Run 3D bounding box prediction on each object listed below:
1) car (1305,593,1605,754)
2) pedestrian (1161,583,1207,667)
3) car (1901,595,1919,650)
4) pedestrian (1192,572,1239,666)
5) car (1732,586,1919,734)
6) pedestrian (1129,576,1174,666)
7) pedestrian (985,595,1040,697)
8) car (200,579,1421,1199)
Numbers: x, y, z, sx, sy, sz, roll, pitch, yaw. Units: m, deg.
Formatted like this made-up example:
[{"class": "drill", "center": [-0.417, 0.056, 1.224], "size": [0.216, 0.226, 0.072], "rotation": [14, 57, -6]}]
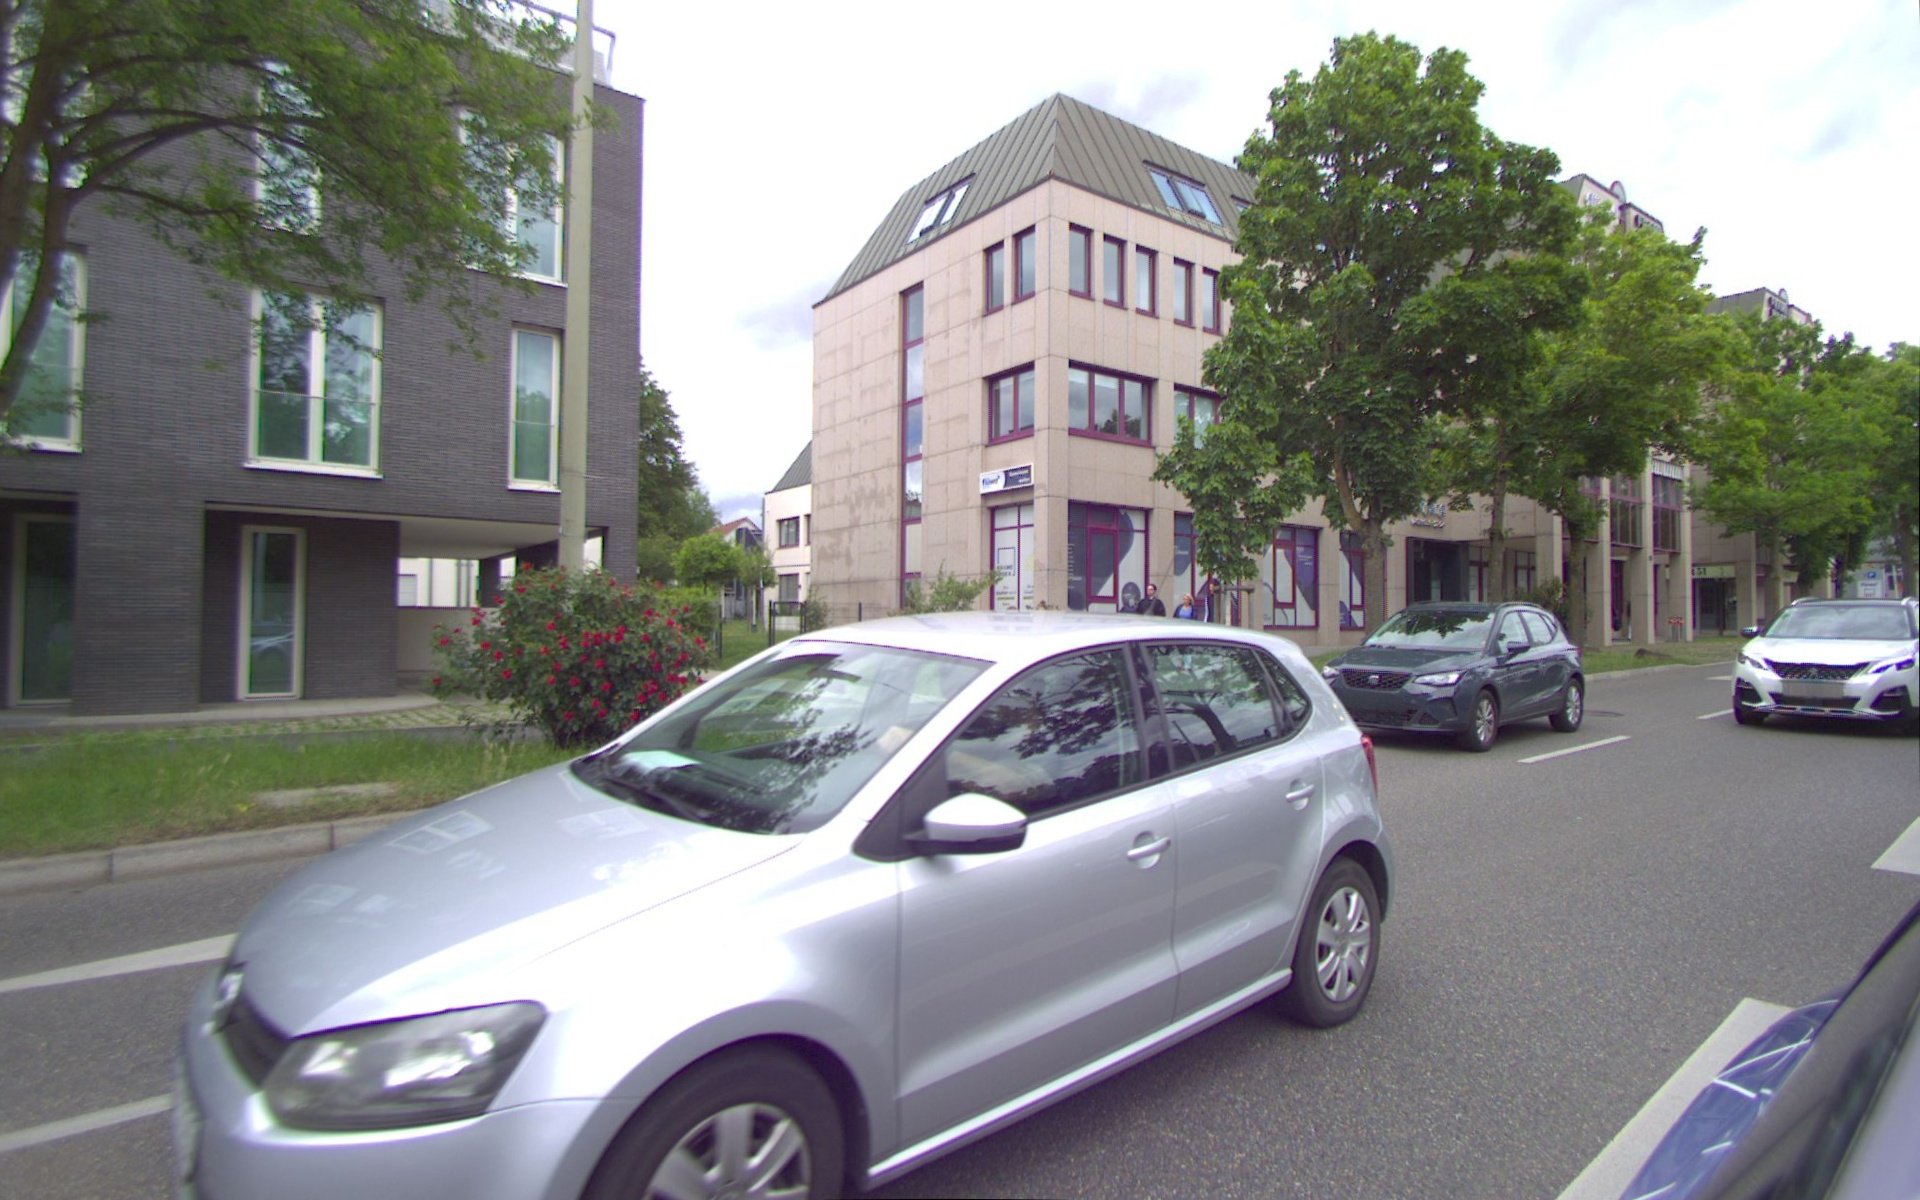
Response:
[{"class": "car", "center": [5.826, 0.700, 11.721], "size": [3.929, 1.531, 1.661], "rotation": [-1, 0, -40]}, {"class": "pedestrian", "center": [4.555, 0.499, 20.617], "size": [0.665, 1.668, 0.642], "rotation": [0, -1, -41]}, {"class": "car", "center": [29.250, 0.641, 29.803], "size": [4.016, 1.575, 1.720], "rotation": [0, 0, -39]}, {"class": "pedestrian", "center": [5.092, 0.370, 20.159], "size": [0.665, 1.828, 0.642], "rotation": [0, -1, -41]}, {"class": "car", "center": [11.655, 0.652, 13.054], "size": [4.238, 1.616, 1.858], "rotation": [0, 1, -41]}, {"class": "pedestrian", "center": [4.000, 0.427, 21.104], "size": [0.665, 1.828, 0.642], "rotation": [0, -1, -41]}, {"class": "pedestrian", "center": [0.822, 0.705, 15.950], "size": [0.665, 1.537, 0.496], "rotation": [0, 2, -41]}, {"class": "car", "center": [-0.141, 0.715, 3.266], "size": [3.611, 1.487, 1.608], "rotation": [0, -1, -41]}]
